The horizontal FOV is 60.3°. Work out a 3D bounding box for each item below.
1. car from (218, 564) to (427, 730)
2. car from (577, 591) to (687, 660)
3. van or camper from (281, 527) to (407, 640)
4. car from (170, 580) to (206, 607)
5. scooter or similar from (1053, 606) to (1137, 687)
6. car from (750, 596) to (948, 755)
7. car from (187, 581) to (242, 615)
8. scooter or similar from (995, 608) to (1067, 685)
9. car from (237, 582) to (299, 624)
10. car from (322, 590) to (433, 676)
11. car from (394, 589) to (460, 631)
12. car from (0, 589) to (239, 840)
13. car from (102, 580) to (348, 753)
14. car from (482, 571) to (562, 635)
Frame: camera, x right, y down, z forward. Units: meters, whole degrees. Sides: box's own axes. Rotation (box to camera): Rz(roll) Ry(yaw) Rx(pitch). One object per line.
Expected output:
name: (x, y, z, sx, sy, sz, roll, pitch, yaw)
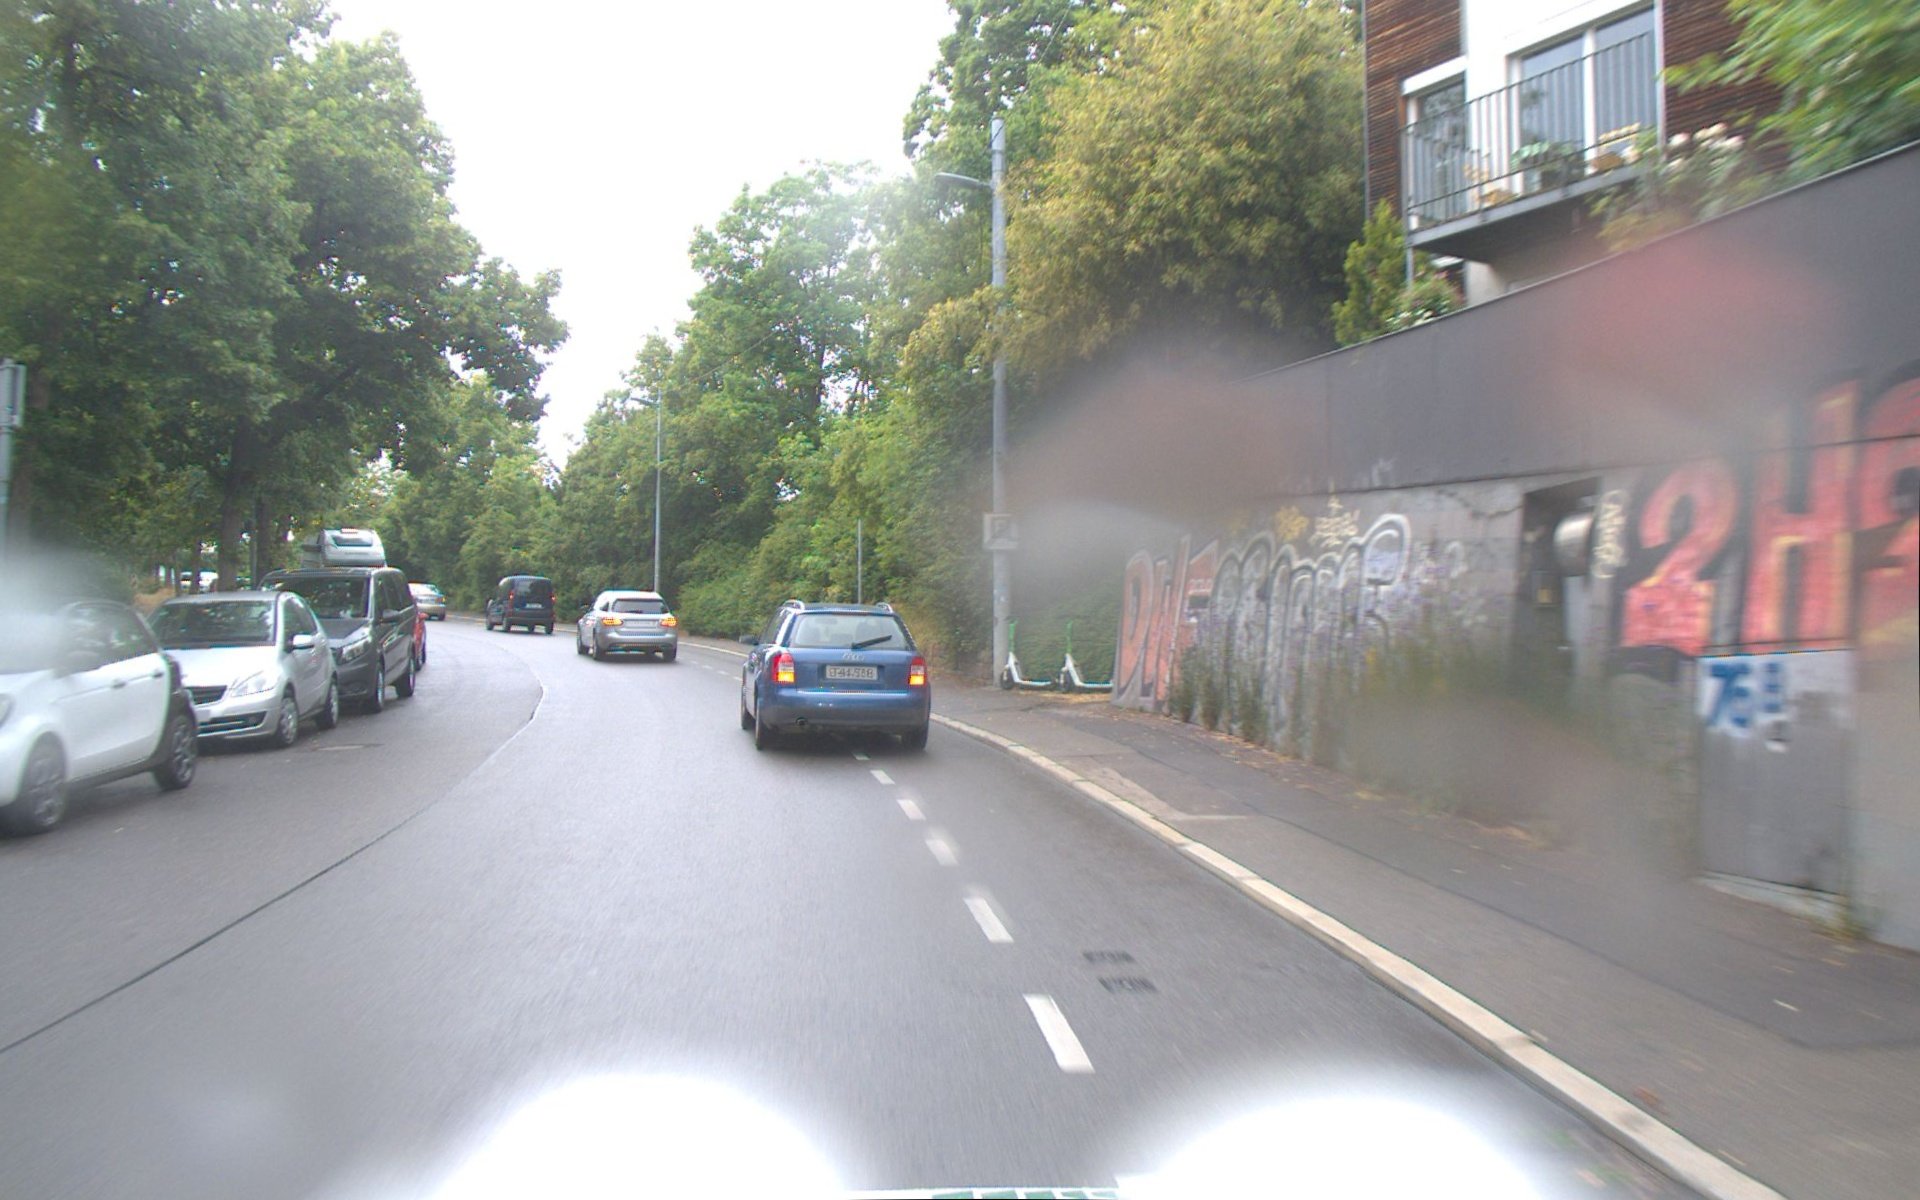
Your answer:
car: (-8.944, 0.543, 23.645, 1.920, 2.002, 4.987, -3, 2, -12)
car: (-7.333, 0.533, 36.730, 1.862, 1.413, 3.978, 1, 0, -19)
van or camper: (-18.500, -0.503, 49.464, 2.479, 3.079, 6.498, -3, 2, -29)
car: (-44.559, -0.366, 95.390, 1.670, 1.462, 4.218, -3, 2, -27)
scooter or similar: (1.960, 0.668, 24.193, 0.343, 1.137, 1.403, 2, -1, -38)
car: (-1.277, 0.702, 17.364, 1.715, 1.432, 3.992, 2, 0, -9)
car: (-32.332, -0.100, 71.647, 1.970, 1.429, 4.672, -1, 1, -27)
scooter or similar: (1.078, 0.700, 25.377, 0.343, 1.137, 1.406, 1, -1, -33)
car: (-26.305, 0.090, 62.768, 1.969, 1.429, 4.676, -1, 2, -26)
car: (-11.617, 0.591, 33.132, 1.925, 1.486, 4.551, -2, 2, -19)
car: (-21.627, 0.376, 67.025, 1.803, 1.645, 3.747, 0, 0, -30)
car: (-6.846, 0.740, 12.141, 1.652, 1.536, 4.199, -3, 0, -7)
car: (-7.799, 0.642, 17.882, 1.655, 1.579, 3.754, -3, 0, -13)
car: (-14.651, 0.108, 55.204, 1.768, 1.987, 3.965, -3, 0, -27)
